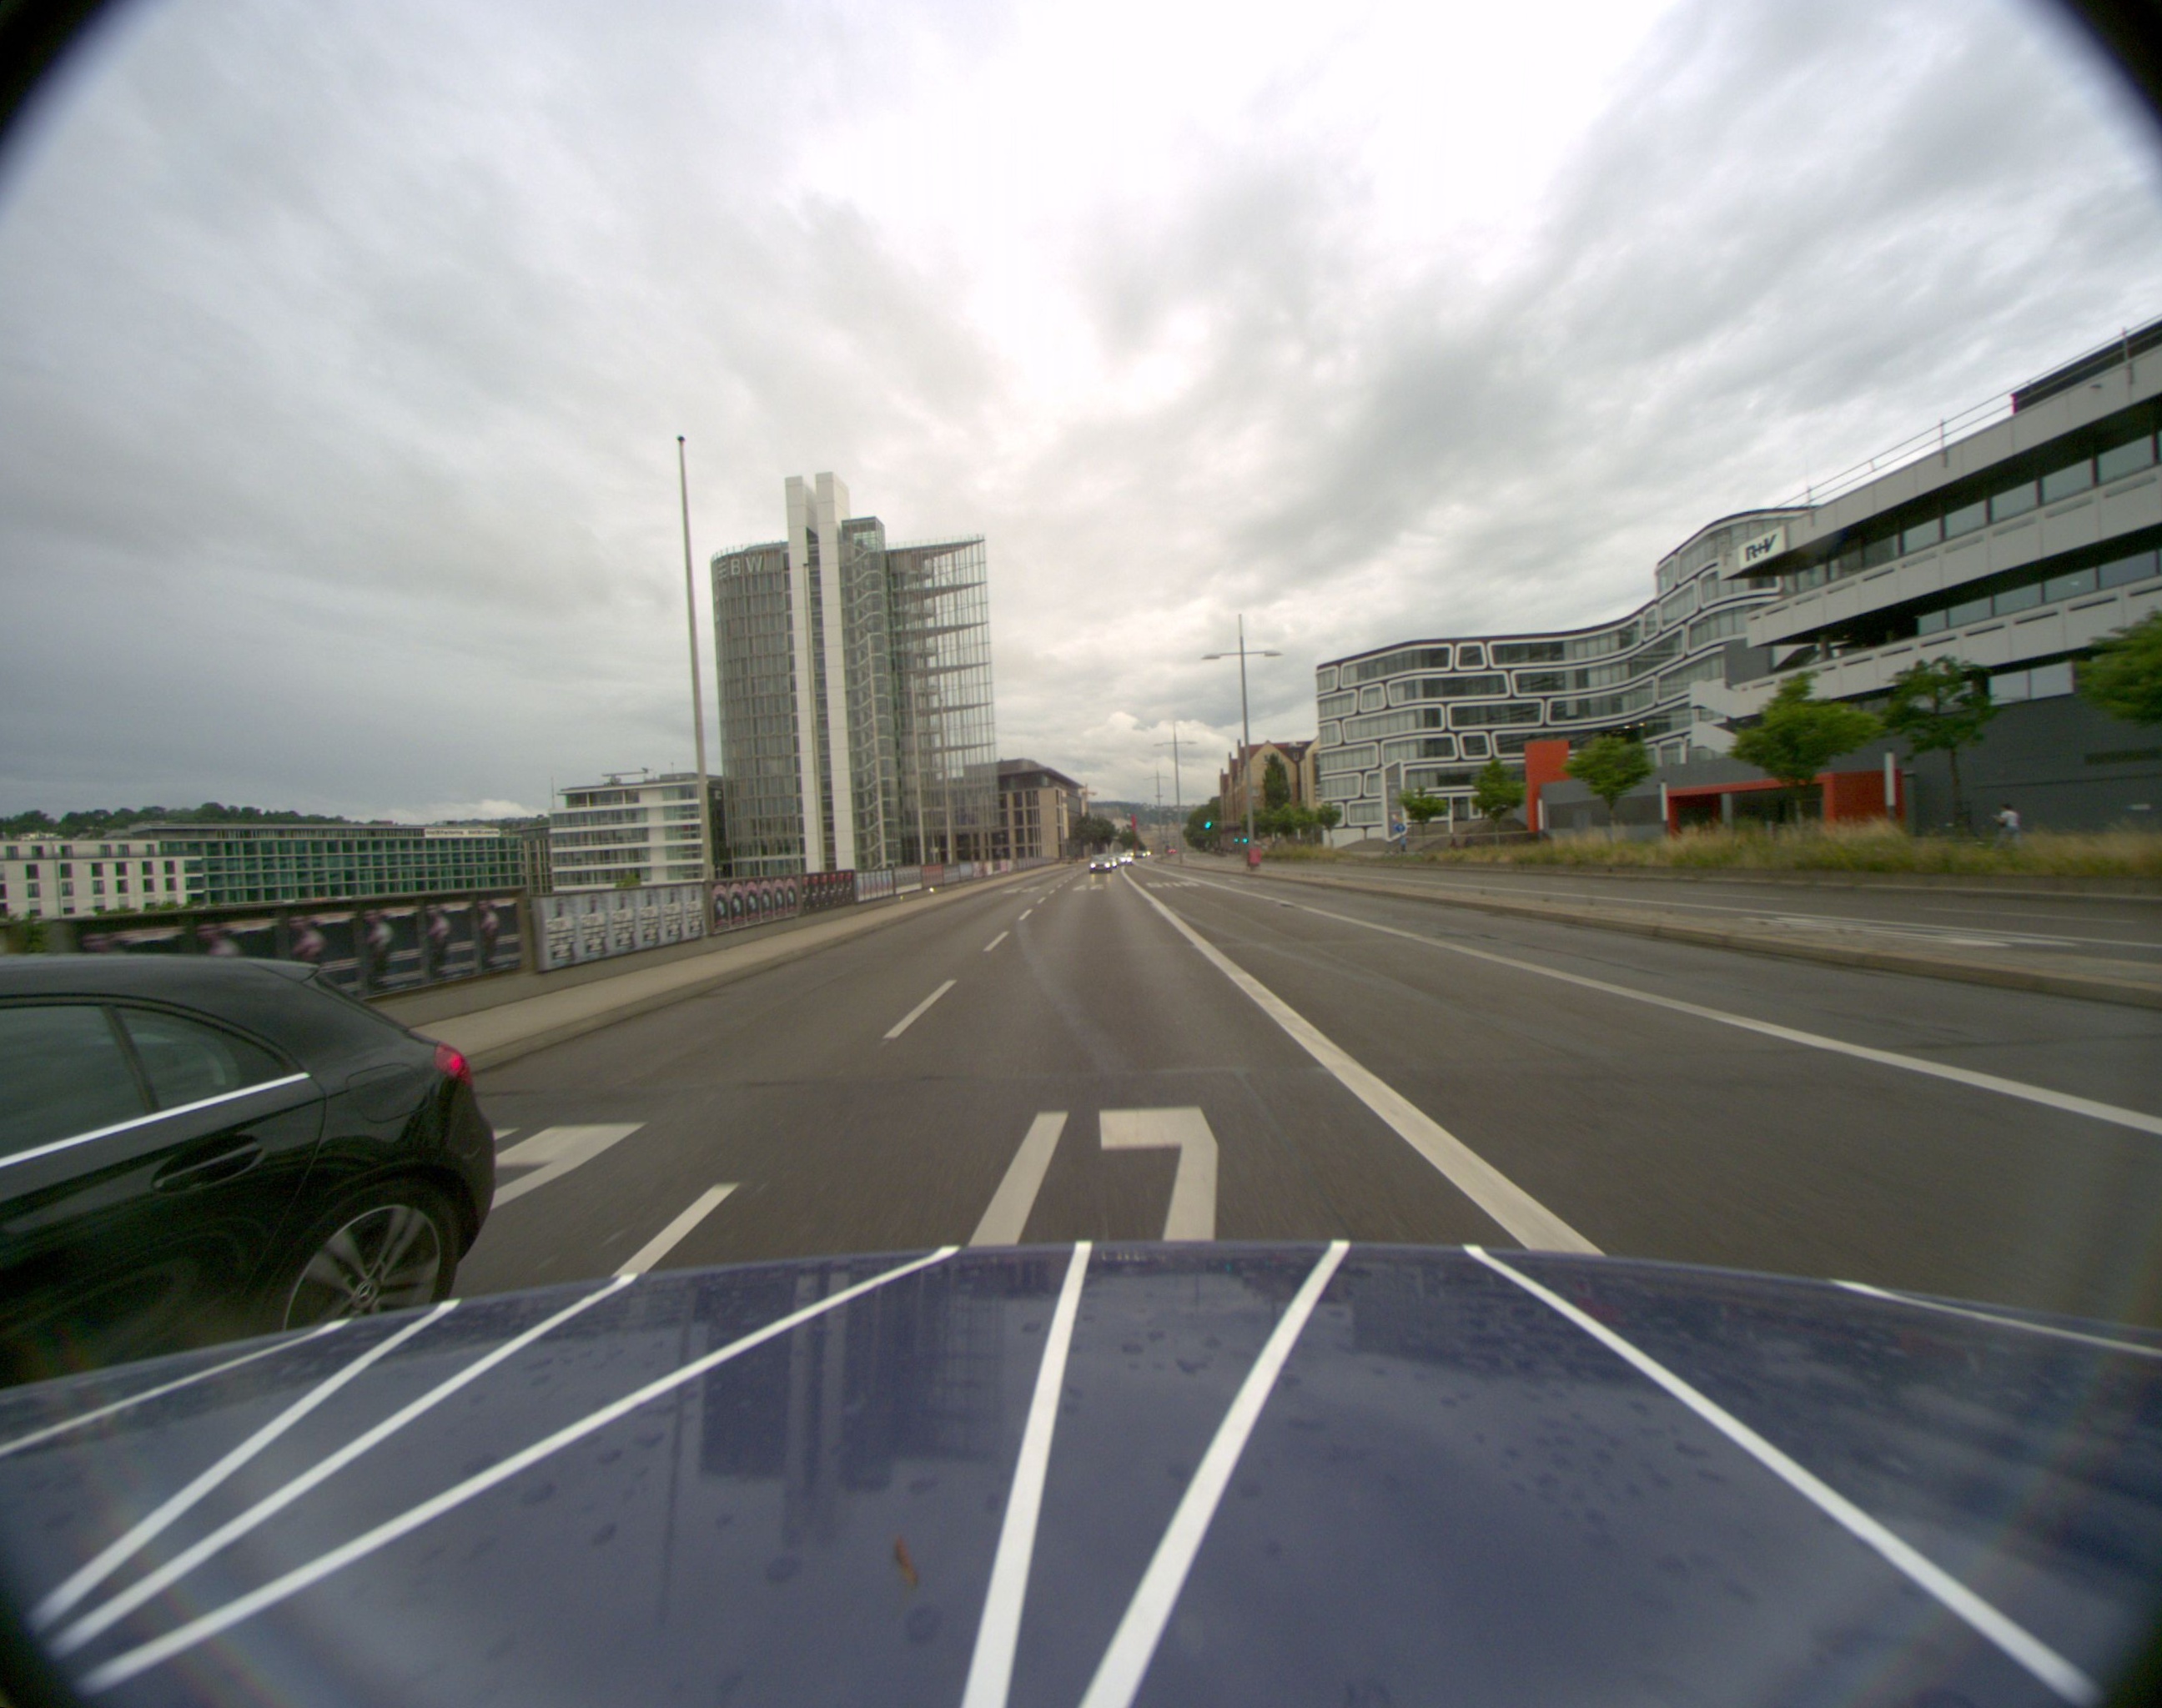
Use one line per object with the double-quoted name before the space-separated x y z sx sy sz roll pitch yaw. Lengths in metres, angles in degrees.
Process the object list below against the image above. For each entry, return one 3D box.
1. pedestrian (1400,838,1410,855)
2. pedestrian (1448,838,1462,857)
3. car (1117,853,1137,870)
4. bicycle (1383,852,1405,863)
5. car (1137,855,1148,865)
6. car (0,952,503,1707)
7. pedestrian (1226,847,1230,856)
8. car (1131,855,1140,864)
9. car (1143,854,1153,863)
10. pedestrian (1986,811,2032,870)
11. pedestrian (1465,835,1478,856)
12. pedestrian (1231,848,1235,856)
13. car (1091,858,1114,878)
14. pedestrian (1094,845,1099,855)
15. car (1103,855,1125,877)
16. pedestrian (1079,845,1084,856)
"pedestrian" 32.355 -0.745 75.866 0.612 1.602 0.640 -3 1 5
"pedestrian" 28.817 -0.538 58.531 0.619 1.438 0.798 -2 1 3
"car" 5.548 0.893 91.201 1.969 1.816 3.928 -3 2 7
"bicycle" 25.974 0.292 63.120 0.610 0.852 1.653 -3 1 -32
"car" 13.517 1.351 167.899 1.998 2.002 3.999 -2 1 1
"car" -2.958 1.091 0.593 1.727 1.368 4.154 -2 1 1
"pedestrian" 29.736 -0.463 154.001 0.677 1.769 0.684 -2 1 8
"car" 13.373 1.305 187.033 1.998 2.002 3.999 -2 1 1
"car" 16.157 1.008 182.122 1.998 2.002 3.999 -2 1 1
"pedestrian" 28.912 -0.419 23.674 0.631 1.797 0.628 -2 1 2
"pedestrian" 30.100 -0.654 58.608 0.619 1.648 0.798 -1 1 3
"pedestrian" 31.707 -0.451 158.398 0.677 1.769 0.684 -2 1 8
"car" 1.694 1.071 59.775 1.684 1.379 3.476 -2 1 1
"pedestrian" 2.716 -0.747 135.050 0.728 1.761 0.783 -2 1 -2
"car" 3.310 1.181 77.364 1.998 2.002 3.999 -2 1 1
"pedestrian" 0.062 -0.531 115.504 0.660 1.601 0.547 -3 0 8
